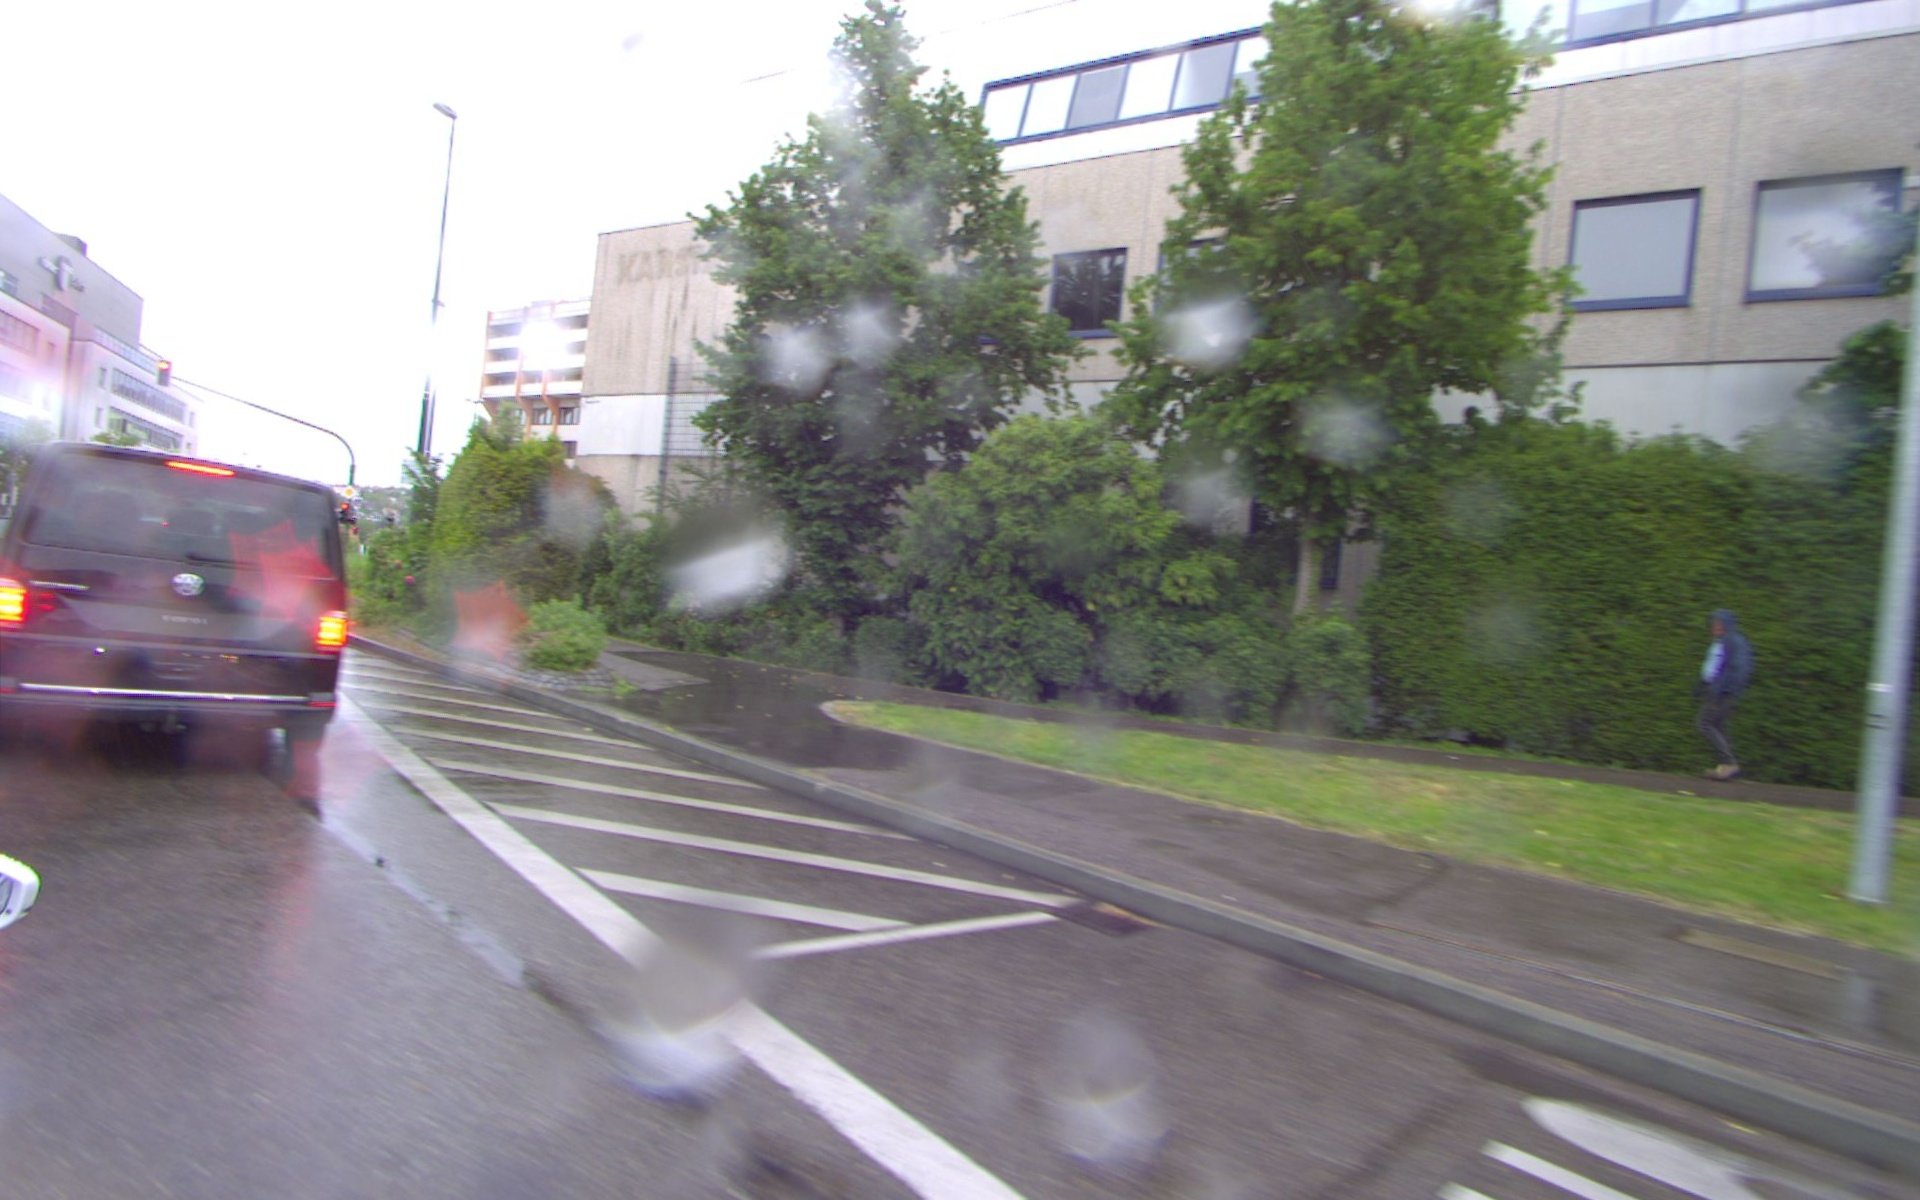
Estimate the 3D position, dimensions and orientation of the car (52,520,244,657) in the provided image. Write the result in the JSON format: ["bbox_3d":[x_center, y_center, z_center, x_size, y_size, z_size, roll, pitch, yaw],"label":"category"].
[{"bbox_3d":[-10.734,-0.214,13.486,1.624,1.402,4.469,8,-2,-37],"label":"car"}]

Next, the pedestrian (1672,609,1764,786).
[{"bbox_3d":[8.219,1.045,10.936,0.663,1.818,0.673,3,-2,31],"label":"pedestrian"}]

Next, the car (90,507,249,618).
[{"bbox_3d":[-14.612,-0.705,18.841,1.890,1.640,4.296,7,-1,-34],"label":"car"}]

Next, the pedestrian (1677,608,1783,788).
[{"bbox_3d":[8.295,1.038,10.877,0.784,1.816,0.848,2,-3,33],"label":"pedestrian"}]

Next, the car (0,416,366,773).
[{"bbox_3d":[-6.130,-0.053,7.600,1.987,1.916,4.538,8,-2,-40],"label":"car"}]
